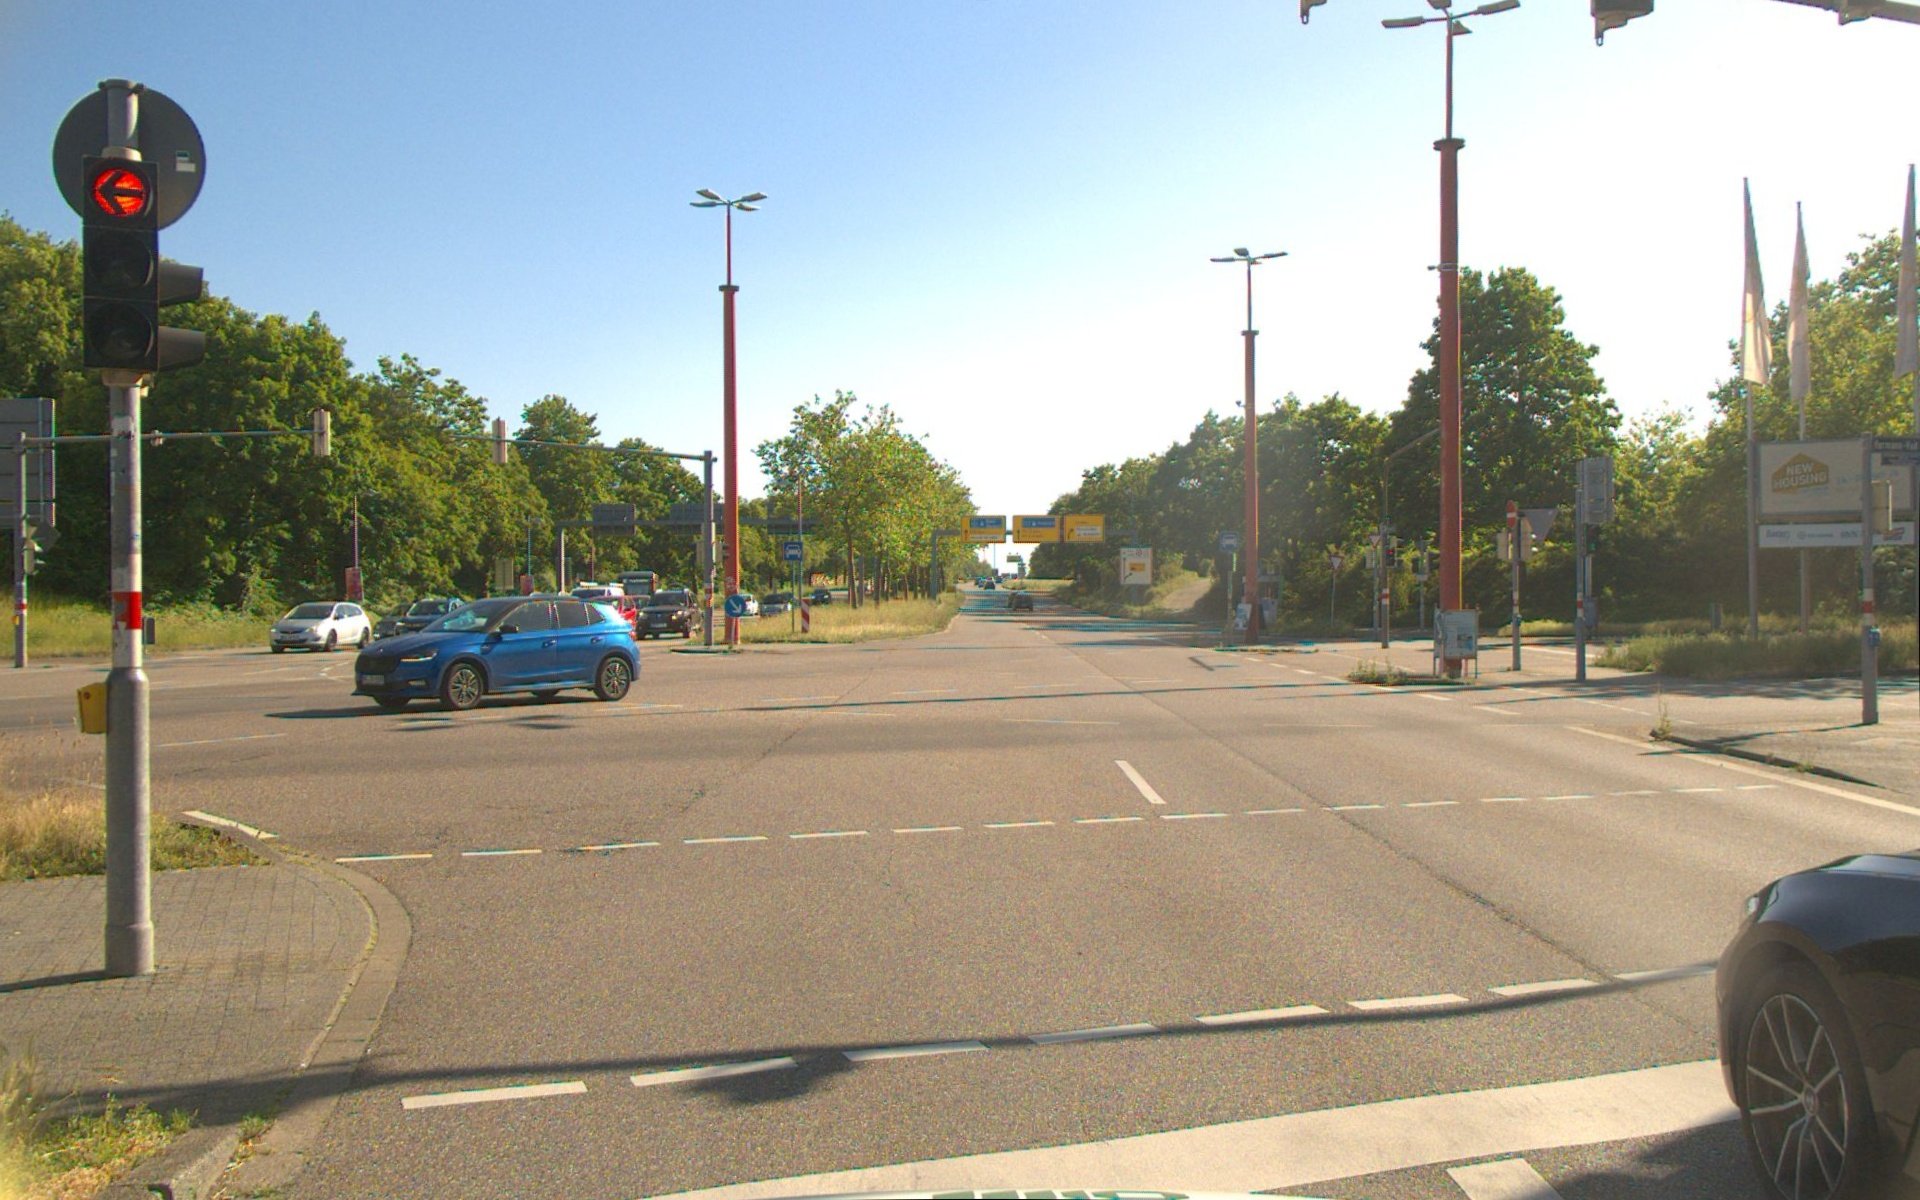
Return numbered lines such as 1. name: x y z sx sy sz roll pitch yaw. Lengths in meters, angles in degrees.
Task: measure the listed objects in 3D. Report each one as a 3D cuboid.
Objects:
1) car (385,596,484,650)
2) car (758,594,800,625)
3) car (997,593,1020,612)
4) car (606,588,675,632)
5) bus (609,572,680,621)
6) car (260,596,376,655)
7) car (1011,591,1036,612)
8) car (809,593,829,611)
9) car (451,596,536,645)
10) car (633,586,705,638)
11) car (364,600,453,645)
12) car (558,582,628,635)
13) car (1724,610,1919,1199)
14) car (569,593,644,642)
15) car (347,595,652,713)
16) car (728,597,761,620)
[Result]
1. car: -16.104 0.690 50.871 1.764 1.542 3.858 -2 0 0
2. car: -9.757 0.482 89.201 1.847 1.570 3.999 -2 0 -1
3. car: 4.678 0.235 159.719 1.953 1.764 3.999 1 0 -1
4. car: -12.405 0.375 64.426 1.862 1.658 4.000 0 0 1
5. bus: -22.704 -0.228 119.811 2.591 3.318 12.535 1 0 0
6. car: -19.542 0.745 50.537 1.838 1.681 4.219 -1 0 0
7. car: 5.435 0.147 141.678 1.953 1.764 3.999 1 0 -1
8. car: -14.883 0.231 174.212 1.800 1.869 3.960 0 0 -1
9. car: -16.032 0.671 57.023 1.863 1.582 3.998 -1 0 -2
10. car: -9.838 0.392 56.206 1.757 1.654 4.142 -2 0 -2
11. car: -19.888 0.784 59.789 1.846 1.539 4.000 -1 0 0
12. car: -15.620 0.340 70.582 1.922 2.193 5.080 -1 0 -1
13. car: 2.894 0.764 2.303 1.727 1.466 4.295 1 0 1
14. car: -12.446 0.591 58.426 1.838 1.579 3.998 -3 0 -2
15. car: -6.196 0.672 22.610 1.548 1.445 3.892 0 0 37
16. car: -15.339 0.570 117.898 1.847 1.570 3.999 -2 0 -1
